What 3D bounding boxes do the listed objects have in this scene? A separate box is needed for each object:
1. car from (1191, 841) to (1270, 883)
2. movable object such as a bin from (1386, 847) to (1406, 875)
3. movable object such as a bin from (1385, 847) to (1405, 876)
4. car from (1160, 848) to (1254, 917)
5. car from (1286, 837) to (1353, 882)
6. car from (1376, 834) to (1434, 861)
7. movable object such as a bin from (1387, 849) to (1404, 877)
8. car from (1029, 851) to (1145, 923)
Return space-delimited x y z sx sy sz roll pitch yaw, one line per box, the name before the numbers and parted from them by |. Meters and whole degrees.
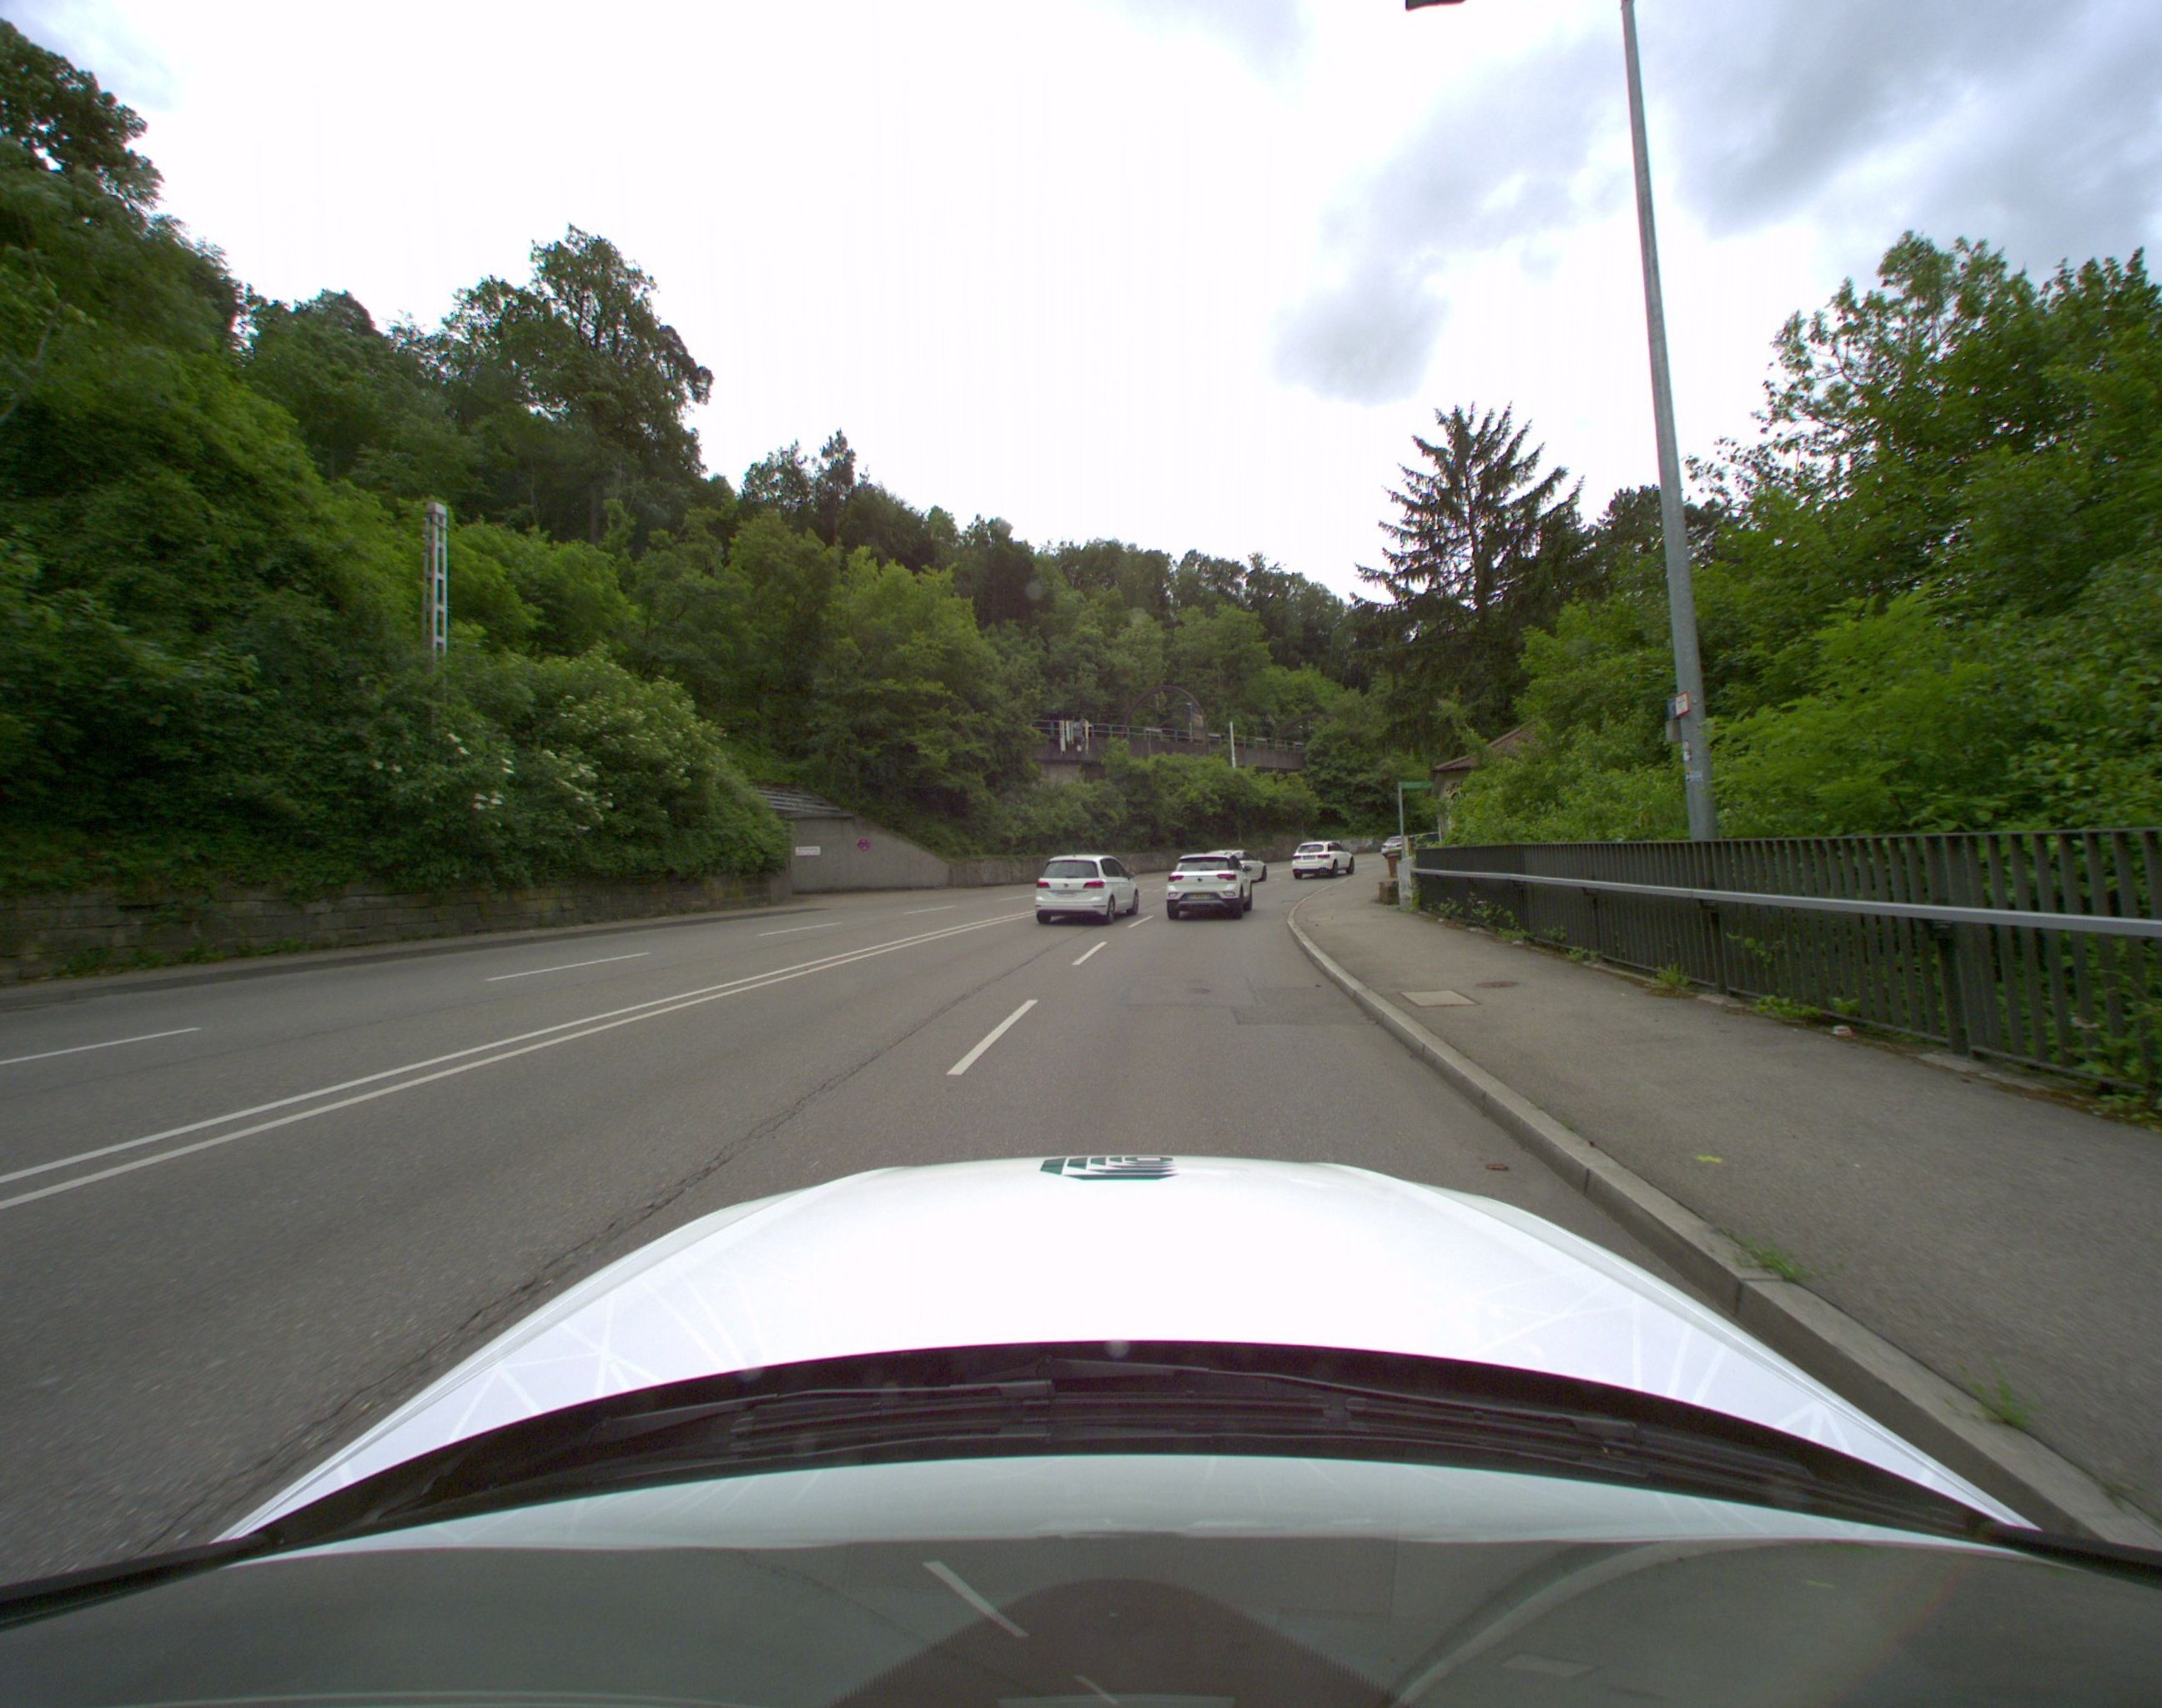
car | 6.496 0.292 35.036 1.975 1.557 4.710 2 2 28
movable object such as a bin | 12.626 0.284 32.655 0.598 1.060 0.482 -7 0 23
movable object such as a bin | 12.394 0.308 32.124 0.598 1.060 0.482 -7 0 23
car | 3.263 0.722 20.499 1.800 1.539 4.025 -2 -2 16
car | 10.994 0.320 37.358 1.974 1.844 4.175 -1 -4 31
car | 21.874 -0.427 54.892 4.329 1.519 1.726 4 -4 -39
movable object such as a bin | 12.189 0.353 31.588 0.495 1.008 0.442 -7 0 23
car | 0.281 0.776 19.833 1.707 1.554 4.293 0 -2 16
